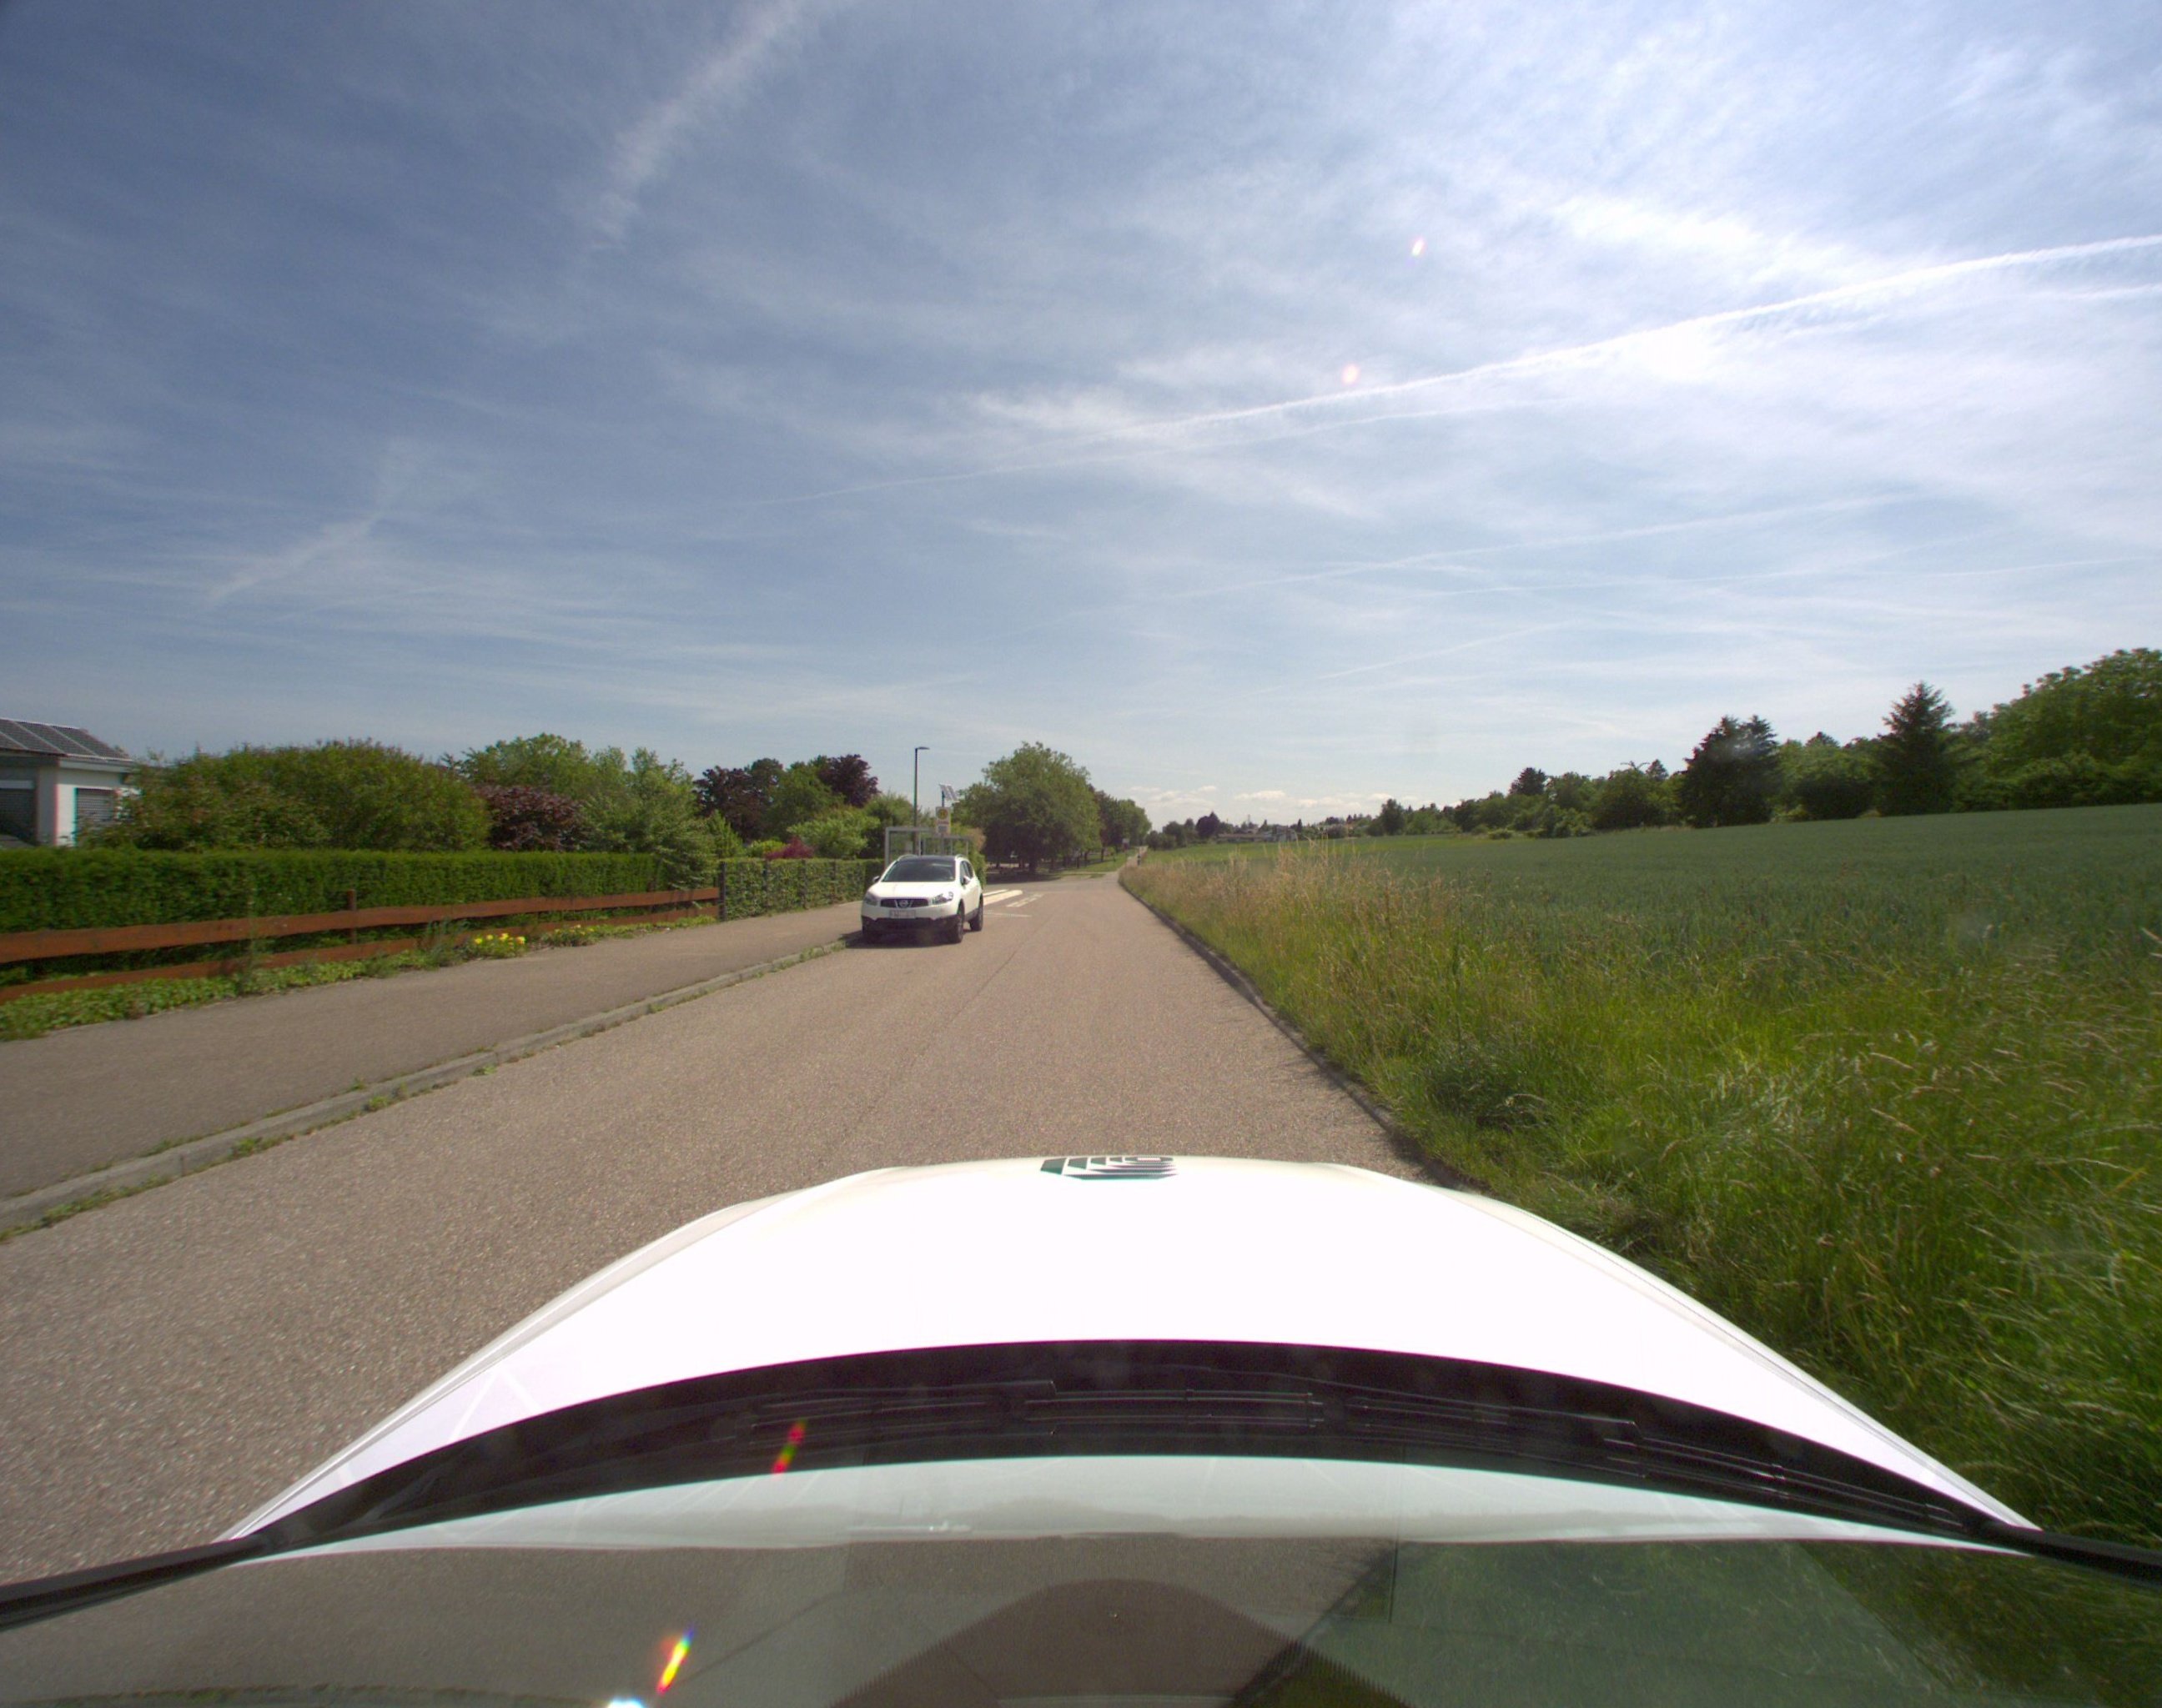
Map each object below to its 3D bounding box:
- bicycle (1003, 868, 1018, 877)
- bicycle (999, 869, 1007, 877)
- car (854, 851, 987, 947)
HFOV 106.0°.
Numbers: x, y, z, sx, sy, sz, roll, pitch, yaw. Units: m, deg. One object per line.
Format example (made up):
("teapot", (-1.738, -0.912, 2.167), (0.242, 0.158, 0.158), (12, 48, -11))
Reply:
("bicycle", (-9.516, 2.491, 109.889), (2.058, 1.039, 0.571), (-2, 0, -4))
("bicycle", (-10.317, 2.548, 107.783), (0.591, 1.039, 1.899), (-2, 0, 12))
("car", (-3.016, 0.807, 16.200), (1.728, 1.633, 4.352), (0, -1, 1))
